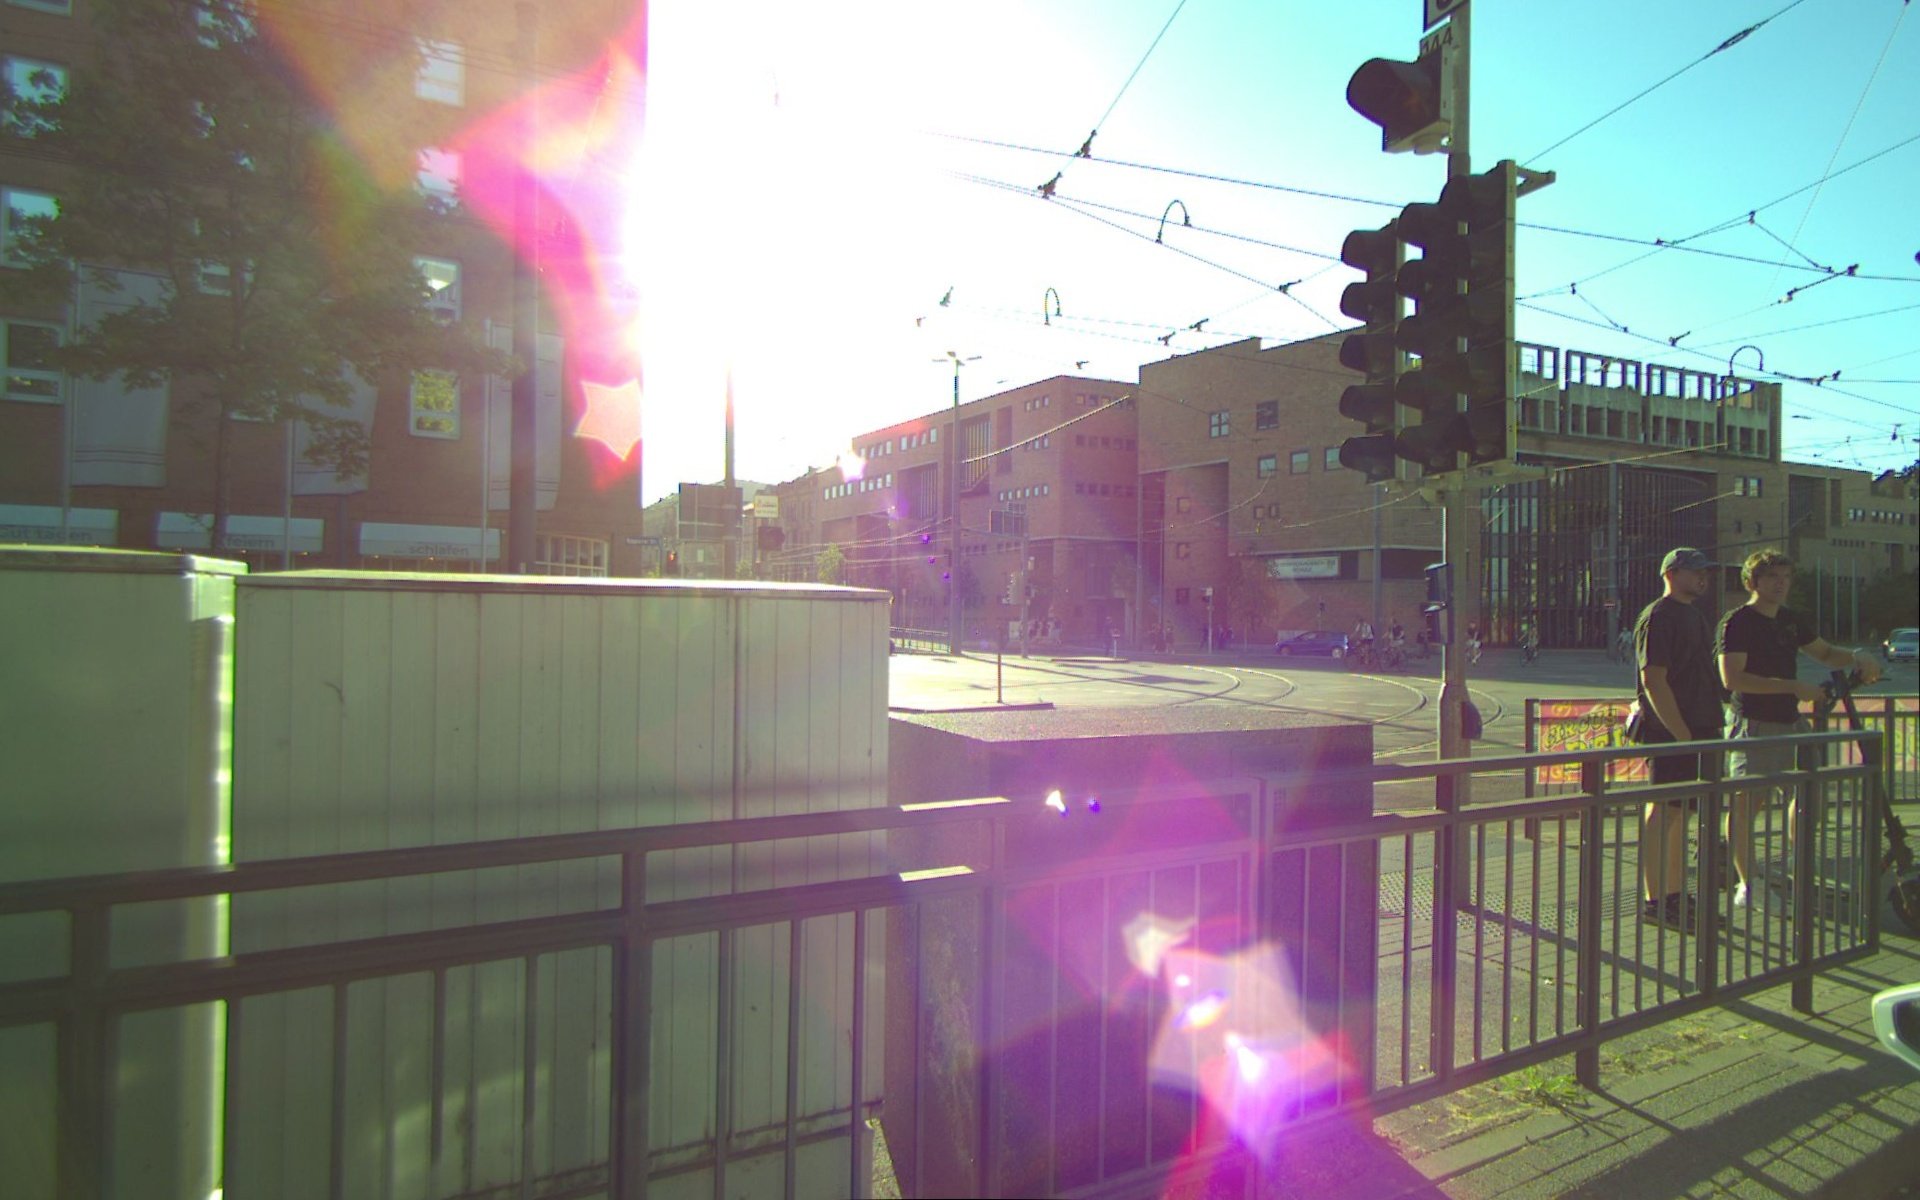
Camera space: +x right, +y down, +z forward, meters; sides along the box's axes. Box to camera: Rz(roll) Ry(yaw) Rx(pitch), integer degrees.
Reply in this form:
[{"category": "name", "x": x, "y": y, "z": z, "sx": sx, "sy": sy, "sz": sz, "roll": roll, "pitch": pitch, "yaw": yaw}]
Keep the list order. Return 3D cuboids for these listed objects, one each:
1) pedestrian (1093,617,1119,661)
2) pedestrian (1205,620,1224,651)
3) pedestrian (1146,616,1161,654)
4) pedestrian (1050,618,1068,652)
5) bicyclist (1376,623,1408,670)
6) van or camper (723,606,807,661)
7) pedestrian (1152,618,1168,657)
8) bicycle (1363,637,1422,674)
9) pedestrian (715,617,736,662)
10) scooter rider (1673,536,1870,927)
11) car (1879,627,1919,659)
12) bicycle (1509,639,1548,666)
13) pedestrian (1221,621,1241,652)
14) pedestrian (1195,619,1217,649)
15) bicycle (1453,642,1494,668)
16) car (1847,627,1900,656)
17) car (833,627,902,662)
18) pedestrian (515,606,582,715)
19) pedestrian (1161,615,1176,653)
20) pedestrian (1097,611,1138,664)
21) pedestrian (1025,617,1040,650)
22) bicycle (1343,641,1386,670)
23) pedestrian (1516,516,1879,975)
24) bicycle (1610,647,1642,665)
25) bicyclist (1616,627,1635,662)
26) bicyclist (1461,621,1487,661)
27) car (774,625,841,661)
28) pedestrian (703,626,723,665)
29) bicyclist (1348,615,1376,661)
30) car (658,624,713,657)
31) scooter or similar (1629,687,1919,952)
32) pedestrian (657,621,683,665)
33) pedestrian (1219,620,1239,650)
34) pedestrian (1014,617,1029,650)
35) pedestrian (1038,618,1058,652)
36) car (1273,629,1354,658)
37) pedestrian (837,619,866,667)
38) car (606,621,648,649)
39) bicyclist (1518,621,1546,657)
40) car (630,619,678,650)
[{"category": "pedestrian", "x": 6.528, "y": 1.750, "z": 44.844, "sx": 0.866, "sy": 1.927, "sz": 0.718, "roll": 2, "pitch": 0, "yaw": -33}, {"category": "pedestrian", "x": 17.406, "y": 2.406, "z": 68.760, "sx": 0.841, "sy": 2.079, "sz": 1.001, "roll": 1, "pitch": -1, "yaw": -32}, {"category": "pedestrian", "x": 10.480, "y": 1.901, "z": 54.417, "sx": 0.603, "sy": 2.040, "sz": 0.731, "roll": 0, "pitch": -1, "yaw": 30}, {"category": "pedestrian", "x": 5.996, "y": 2.126, "z": 60.936, "sx": 0.742, "sy": 2.010, "sz": 0.780, "roll": 1, "pitch": -1, "yaw": -32}, {"category": "bicyclist", "x": 15.097, "y": 1.611, "z": 35.073, "sx": 0.748, "sy": 1.581, "sz": 0.680, "roll": -1, "pitch": 0, "yaw": -26}, {"category": "van or camper", "x": -9.360, "y": 1.573, "z": 47.915, "sx": 1.981, "sy": 2.451, "sz": 4.980, "roll": 1, "pitch": -2, "yaw": -36}, {"category": "pedestrian", "x": 10.385, "y": 1.942, "z": 52.083, "sx": 0.603, "sy": 2.040, "sz": 0.731, "roll": 0, "pitch": -1, "yaw": 30}, {"category": "bicycle", "x": 15.104, "y": 1.922, "z": 35.073, "sx": 2.082, "sy": 1.157, "sz": 0.683, "roll": -1, "pitch": 0, "yaw": -25}, {"category": "pedestrian", "x": -10.642, "y": 1.788, "z": 45.573, "sx": 0.597, "sy": 2.040, "sz": 0.848, "roll": 1, "pitch": -1, "yaw": -38}, {"category": "scooter rider", "x": 4.228, "y": 0.650, "z": 5.243, "sx": 0.670, "sy": 1.877, "sz": 0.564, "roll": 3, "pitch": -2, "yaw": -25}, {"category": "car", "x": 48.933, "y": 2.212, "z": 51.736, "sx": 3.962, "sy": 1.598, "sz": 1.610, "roll": 1, "pitch": -2, "yaw": -36}, {"category": "bicycle", "x": 23.898, "y": 2.201, "z": 42.215, "sx": 1.993, "sy": 1.064, "sz": 0.647, "roll": 2, "pitch": -1, "yaw": -35}, {"category": "pedestrian", "x": 18.171, "y": 2.431, "z": 67.395, "sx": 0.841, "sy": 2.079, "sz": 1.001, "roll": 1, "pitch": -1, "yaw": -32}, {"category": "pedestrian", "x": 16.597, "y": 2.293, "z": 67.899, "sx": 0.902, "sy": 2.040, "sz": 1.151, "roll": 1, "pitch": -1, "yaw": -34}, {"category": "bicycle", "x": 20.277, "y": 2.154, "z": 39.672, "sx": 1.884, "sy": 1.011, "sz": 0.688, "roll": 1, "pitch": -2, "yaw": -37}, {"category": "car", "x": 59.541, "y": 2.708, "z": 65.481, "sx": 3.964, "sy": 1.786, "sz": 1.854, "roll": 2, "pitch": 0, "yaw": -37}, {"category": "car", "x": -4.823, "y": 2.244, "z": 51.801, "sx": 1.978, "sy": 1.709, "sz": 3.965, "roll": 1, "pitch": -2, "yaw": -33}, {"category": "pedestrian", "x": -7.194, "y": 1.036, "z": 17.555, "sx": 0.946, "sy": 1.822, "sz": 0.986, "roll": 2, "pitch": 0, "yaw": -28}, {"category": "pedestrian", "x": 11.262, "y": 1.829, "z": 54.269, "sx": 0.603, "sy": 2.040, "sz": 0.731, "roll": 0, "pitch": -1, "yaw": 30}, {"category": "pedestrian", "x": 6.229, "y": 1.463, "z": 39.782, "sx": 1.193, "sy": 2.040, "sz": 1.028, "roll": 2, "pitch": 0, "yaw": -30}, {"category": "pedestrian", "x": 4.517, "y": 2.089, "z": 62.539, "sx": 0.644, "sy": 2.040, "sz": 0.780, "roll": 1, "pitch": -1, "yaw": -32}, {"category": "bicycle", "x": 14.473, "y": 1.973, "z": 35.926, "sx": 1.887, "sy": 1.011, "sz": 0.647, "roll": 2, "pitch": -2, "yaw": -41}, {"category": "pedestrian", "x": 3.531, "y": 0.622, "z": 4.898, "sx": 0.843, "sy": 1.908, "sz": 1.164, "roll": 1, "pitch": -1, "yaw": -25}, {"category": "bicycle", "x": 31.065, "y": 2.595, "z": 46.844, "sx": 1.948, "sy": 0.781, "sz": 0.586, "roll": 1, "pitch": -2, "yaw": -35}, {"category": "bicyclist", "x": 31.034, "y": 2.065, "z": 46.828, "sx": 0.509, "sy": 1.647, "sz": 0.583, "roll": 1, "pitch": -1, "yaw": -35}, {"category": "bicyclist", "x": 20.327, "y": 1.610, "z": 39.698, "sx": 0.752, "sy": 1.590, "sz": 0.656, "roll": 1, "pitch": -2, "yaw": -37}, {"category": "car", "x": -7.814, "y": 2.150, "z": 51.176, "sx": 1.978, "sy": 1.709, "sz": 3.965, "roll": 1, "pitch": -2, "yaw": -33}, {"category": "pedestrian", "x": -11.739, "y": 2.136, "z": 47.690, "sx": 0.597, "sy": 1.843, "sz": 0.848, "roll": 1, "pitch": -1, "yaw": -38}, {"category": "bicyclist", "x": 14.343, "y": 1.346, "z": 35.811, "sx": 0.753, "sy": 1.595, "sz": 0.655, "roll": 1, "pitch": -2, "yaw": -41}, {"category": "car", "x": -14.977, "y": 2.185, "z": 54.694, "sx": 1.739, "sy": 1.750, "sz": 3.963, "roll": 1, "pitch": -2, "yaw": -33}, {"category": "scooter or similar", "x": 4.251, "y": 1.037, "z": 5.167, "sx": 0.639, "sy": 1.095, "sz": 1.199, "roll": 1, "pitch": -1, "yaw": -25}, {"category": "pedestrian", "x": -11.770, "y": 1.734, "z": 40.784, "sx": 0.857, "sy": 1.775, "sz": 0.672, "roll": 1, "pitch": -1, "yaw": -30}, {"category": "pedestrian", "x": 18.646, "y": 2.445, "z": 69.635, "sx": 0.841, "sy": 2.079, "sz": 1.001, "roll": 1, "pitch": -1, "yaw": -32}, {"category": "pedestrian", "x": 3.836, "y": 2.064, "z": 62.575, "sx": 0.607, "sy": 2.040, "sz": 0.727, "roll": 1, "pitch": -1, "yaw": -32}, {"category": "pedestrian", "x": 5.305, "y": 2.103, "z": 60.452, "sx": 0.917, "sy": 2.010, "sz": 0.780, "roll": 1, "pitch": -1, "yaw": -32}, {"category": "car", "x": 17.963, "y": 2.182, "z": 51.013, "sx": 3.651, "sy": 1.394, "sz": 1.583, "roll": 0, "pitch": -2, "yaw": 31}, {"category": "pedestrian", "x": -4.029, "y": 1.596, "z": 37.275, "sx": 0.860, "sy": 1.775, "sz": 0.670, "roll": 1, "pitch": -2, "yaw": -39}, {"category": "car", "x": -21.707, "y": 2.239, "z": 65.377, "sx": 1.738, "sy": 1.750, "sz": 3.965, "roll": 1, "pitch": -2, "yaw": -32}, {"category": "bicyclist", "x": 24.136, "y": 1.627, "z": 42.367, "sx": 1.022, "sy": 1.494, "sz": 0.649, "roll": 2, "pitch": -1, "yaw": -35}, {"category": "car", "x": -18.290, "y": 2.049, "z": 59.920, "sx": 1.738, "sy": 1.750, "sz": 3.965, "roll": 1, "pitch": -2, "yaw": -32}]
